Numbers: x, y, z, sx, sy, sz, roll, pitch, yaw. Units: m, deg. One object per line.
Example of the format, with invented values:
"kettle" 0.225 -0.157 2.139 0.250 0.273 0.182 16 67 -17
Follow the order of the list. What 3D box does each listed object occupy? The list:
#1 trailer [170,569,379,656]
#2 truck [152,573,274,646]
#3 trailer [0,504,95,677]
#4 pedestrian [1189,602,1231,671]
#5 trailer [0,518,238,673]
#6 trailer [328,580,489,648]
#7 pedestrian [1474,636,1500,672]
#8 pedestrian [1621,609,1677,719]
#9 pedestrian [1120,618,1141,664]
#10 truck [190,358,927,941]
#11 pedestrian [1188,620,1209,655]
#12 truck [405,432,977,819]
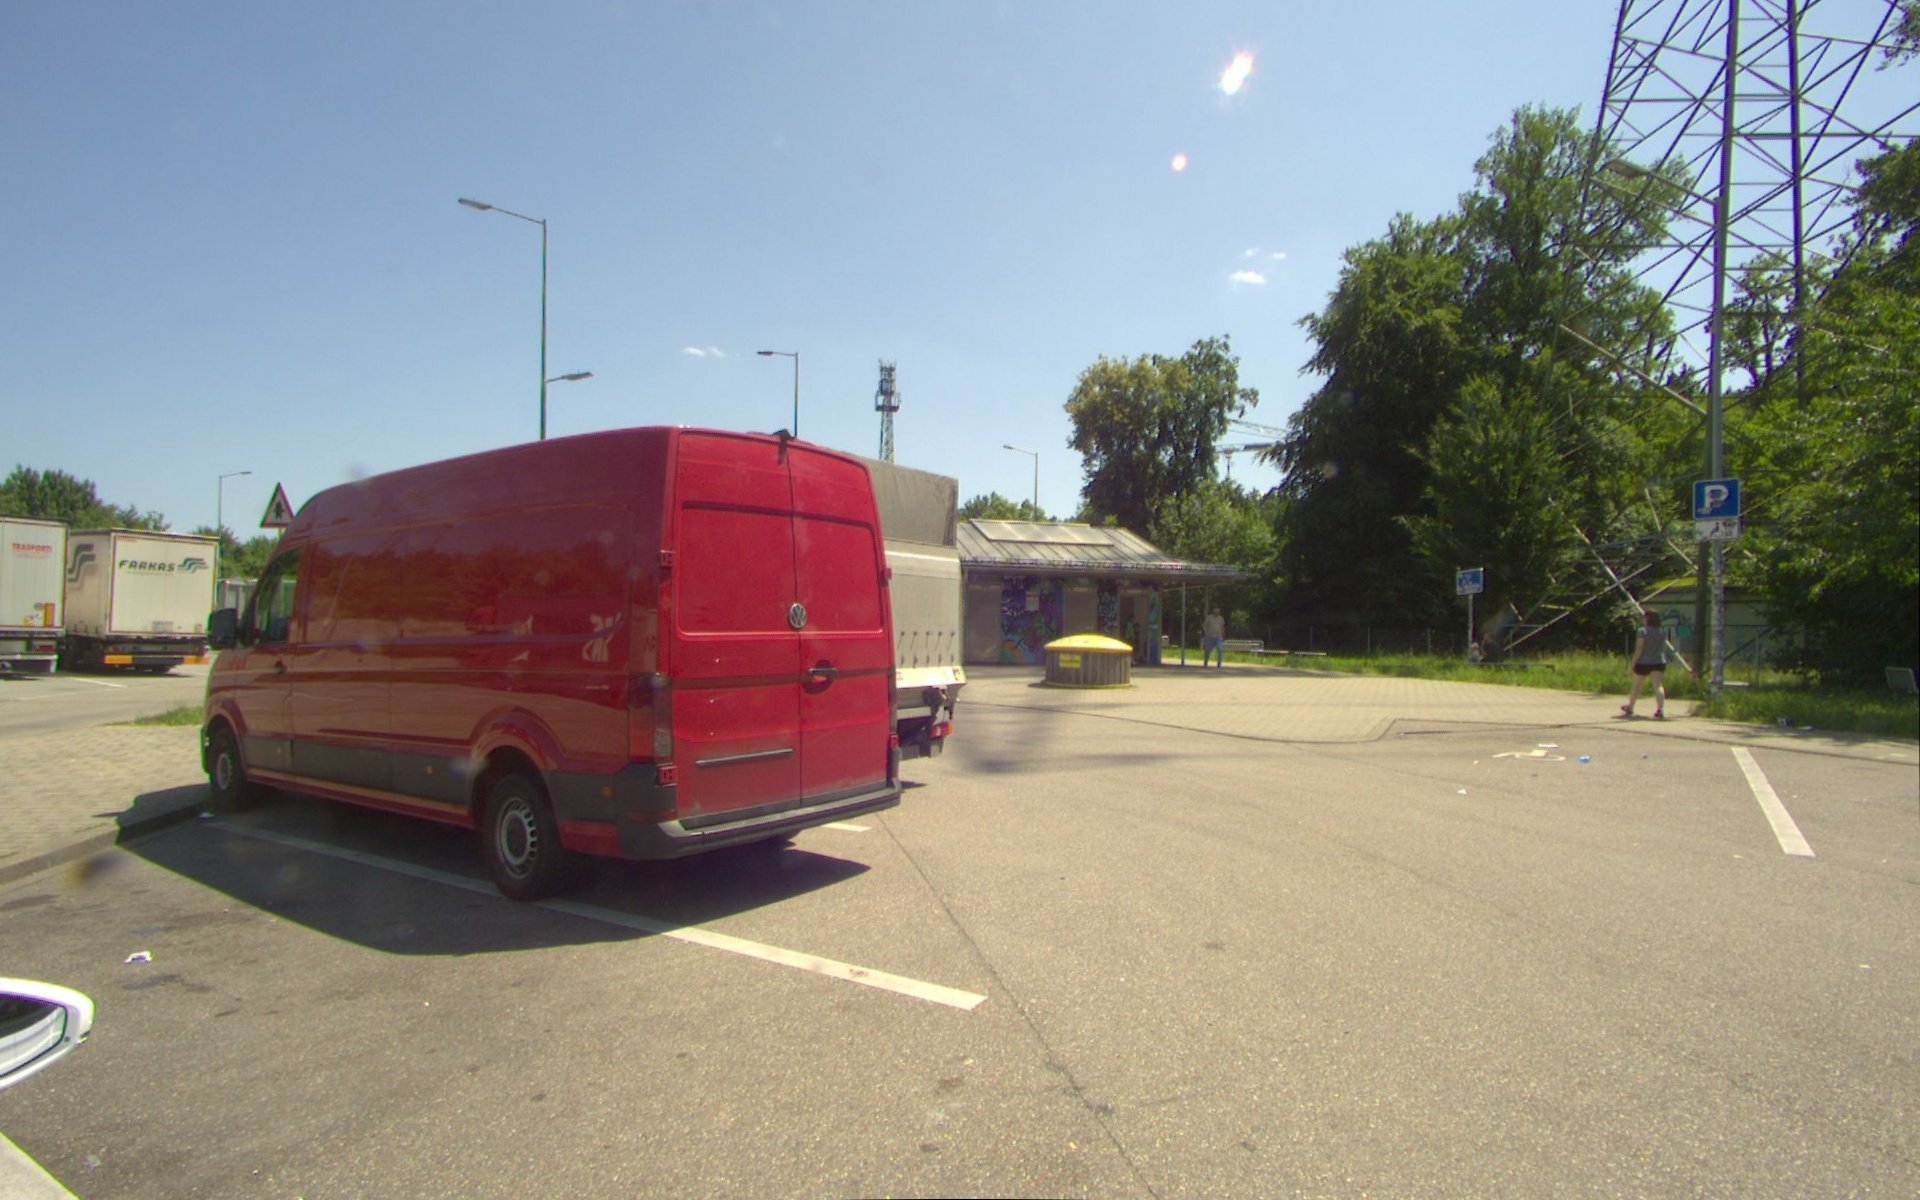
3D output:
"trailer" -32.480 0.481 47.099 13.561 3.646 2.854 1 -2 32
"truck" -37.552 0.471 50.323 5.887 3.406 2.862 1 -2 32
"trailer" -28.691 -0.342 28.022 13.561 4.162 2.854 1 -2 32
"pedestrian" 7.170 1.053 28.753 0.799 1.929 0.920 0 -1 -15
"trailer" -27.618 -0.170 31.610 13.561 4.162 2.854 1 -2 32
"trailer" -36.174 0.840 65.339 13.561 3.955 2.854 1 -2 32
"pedestrian" 14.640 1.492 27.818 0.439 0.987 0.460 0 -1 -19
"pedestrian" 10.746 0.983 15.632 0.678 1.670 0.711 -1 -1 34
"pedestrian" 5.200 1.239 30.614 0.532 1.392 0.583 0 -1 0
"truck" -3.340 0.303 7.338 6.372 2.685 2.005 -1 -2 37
"pedestrian" 11.105 1.741 46.604 0.798 1.639 0.921 0 -1 5
"truck" -3.090 0.275 10.523 6.372 2.944 2.411 -1 -2 37
